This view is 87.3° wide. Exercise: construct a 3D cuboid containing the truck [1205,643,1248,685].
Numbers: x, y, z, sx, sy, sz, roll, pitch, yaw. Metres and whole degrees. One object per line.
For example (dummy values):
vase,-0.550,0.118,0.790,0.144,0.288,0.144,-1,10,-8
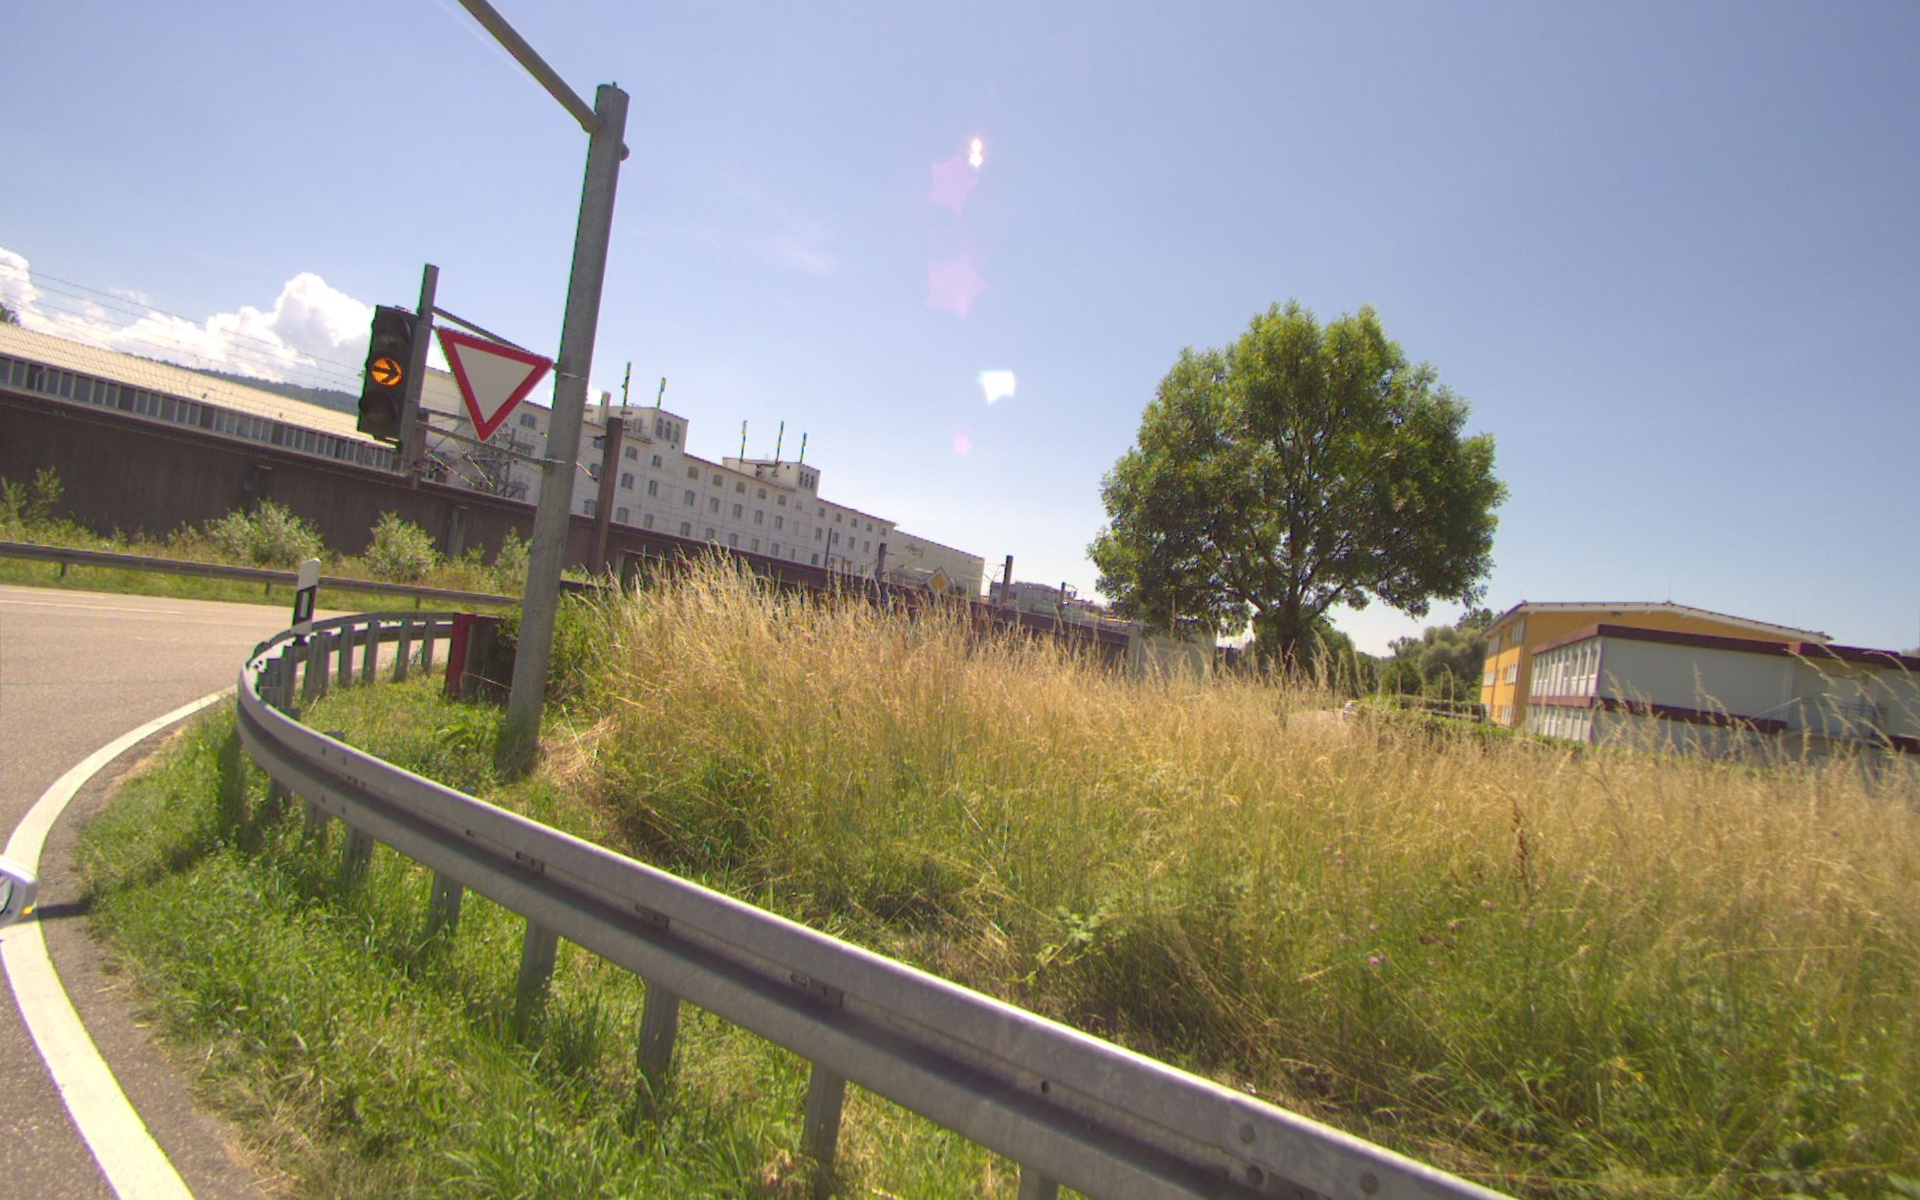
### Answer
truck,28.408,6.911,106.845,2.950,3.761,10.570,6,-3,21
